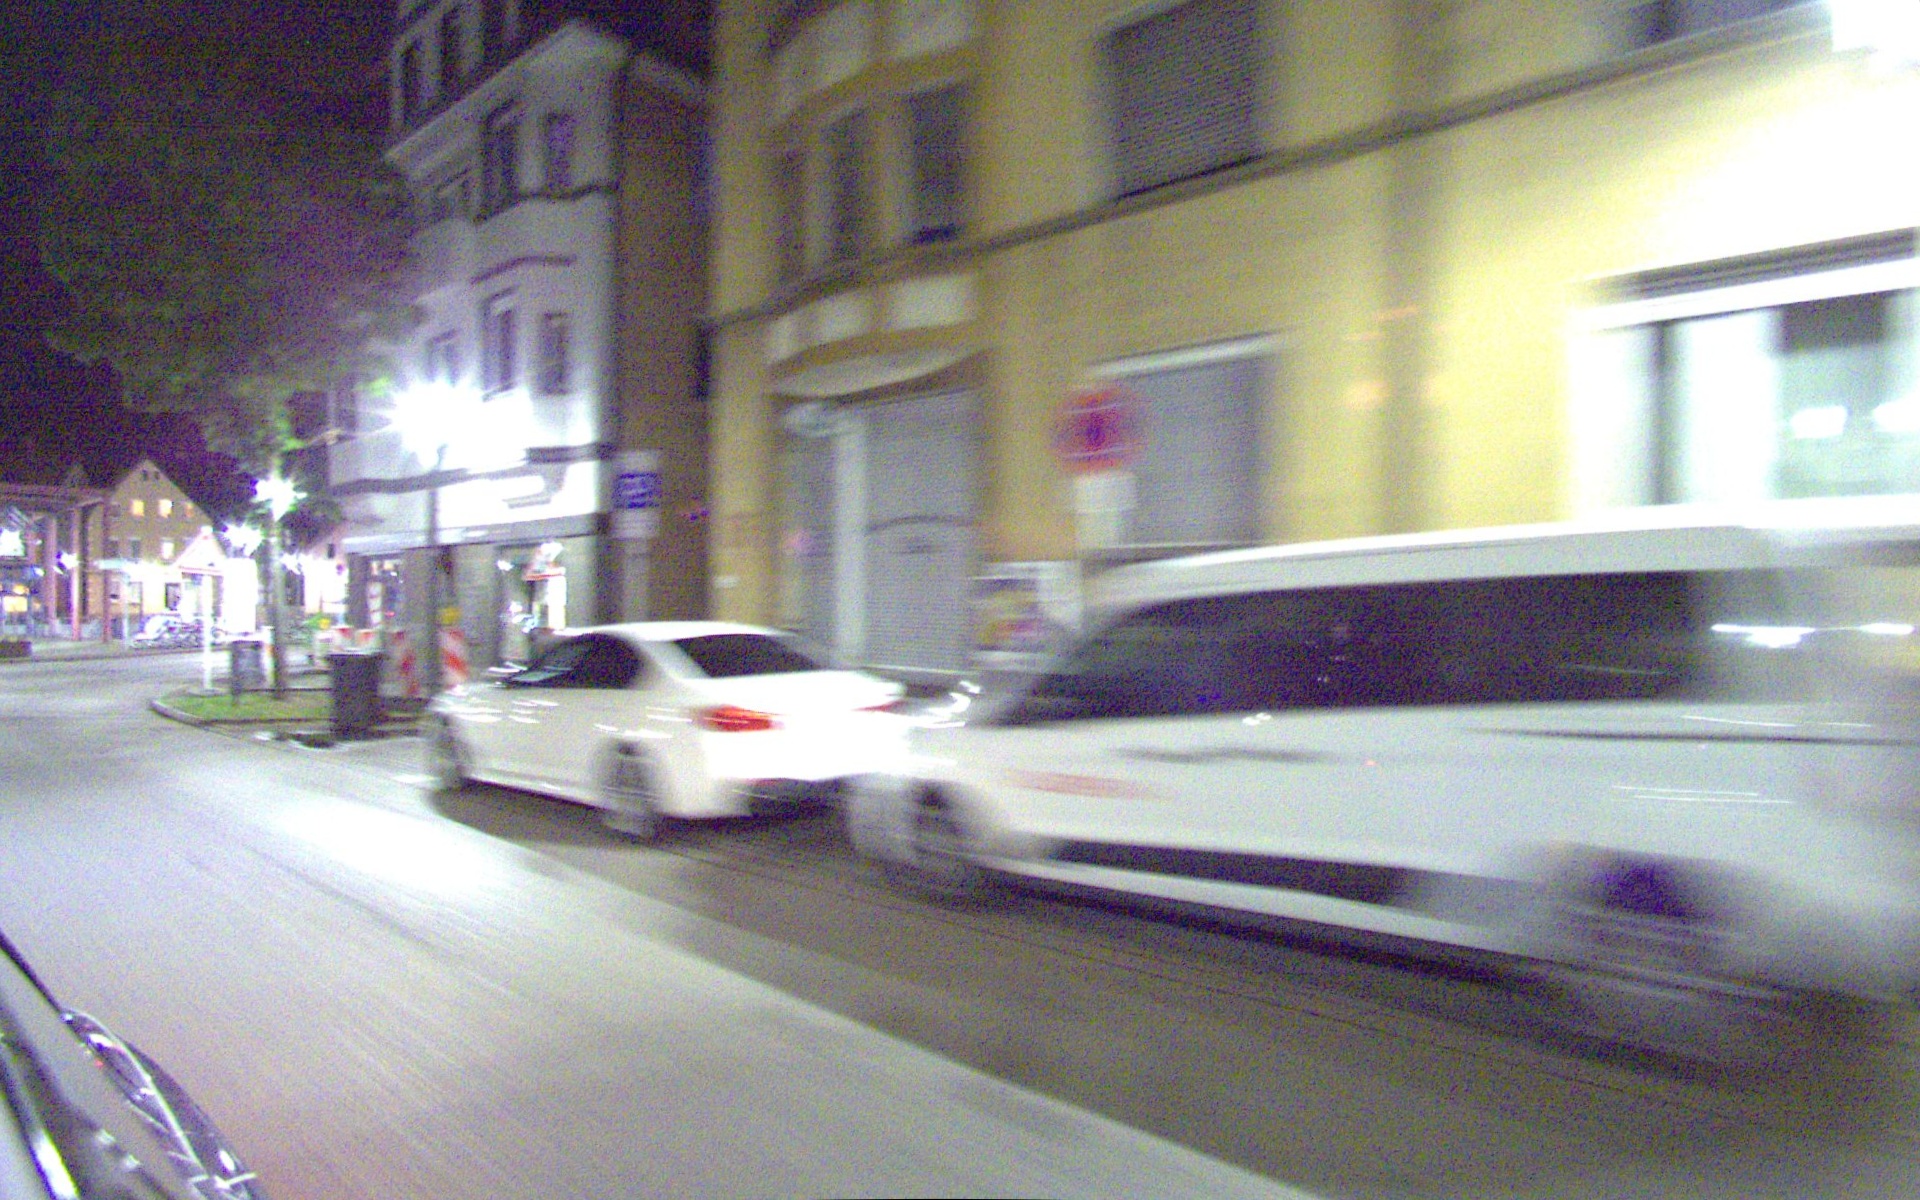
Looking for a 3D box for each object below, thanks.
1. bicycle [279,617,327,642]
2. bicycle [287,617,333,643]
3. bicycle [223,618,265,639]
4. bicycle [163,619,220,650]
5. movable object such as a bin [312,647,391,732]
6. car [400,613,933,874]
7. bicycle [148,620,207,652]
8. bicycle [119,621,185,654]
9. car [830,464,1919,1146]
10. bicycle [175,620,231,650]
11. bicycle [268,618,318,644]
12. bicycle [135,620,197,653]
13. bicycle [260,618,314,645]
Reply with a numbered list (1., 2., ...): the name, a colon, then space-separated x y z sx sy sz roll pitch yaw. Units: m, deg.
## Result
1. bicycle: -30.582 1.362 47.122 1.747 1.149 0.688 0 0 -6
2. bicycle: -29.604 1.365 46.110 1.634 1.143 0.643 0 0 -6
3. bicycle: -40.074 1.576 56.670 0.648 1.136 1.783 -1 0 33
4. bicycle: -29.957 1.348 39.449 1.752 1.160 0.582 0 0 -1
5. movable object such as a bin: -8.134 1.190 13.552 0.616 1.057 0.689 -1 1 0
6. car: -2.629 0.873 8.232 4.879 1.461 1.820 0 1 41
7. bicycle: -29.947 1.372 38.748 1.749 1.160 0.583 0 0 -7
8. bicycle: -29.704 1.356 37.219 1.760 1.160 0.761 0 0 -7
9. car: 1.747 0.573 4.684 4.810 1.857 1.864 -1 0 40
10. bicycle: -29.977 1.373 40.079 1.752 1.160 0.582 0 0 -1
11. bicycle: -29.760 1.376 45.200 1.765 1.143 0.630 0 0 -8
12. bicycle: -29.818 1.365 38.017 1.749 1.160 0.615 0 0 -7
13. bicycle: -29.226 1.369 43.975 1.841 1.143 0.726 0 0 -8
